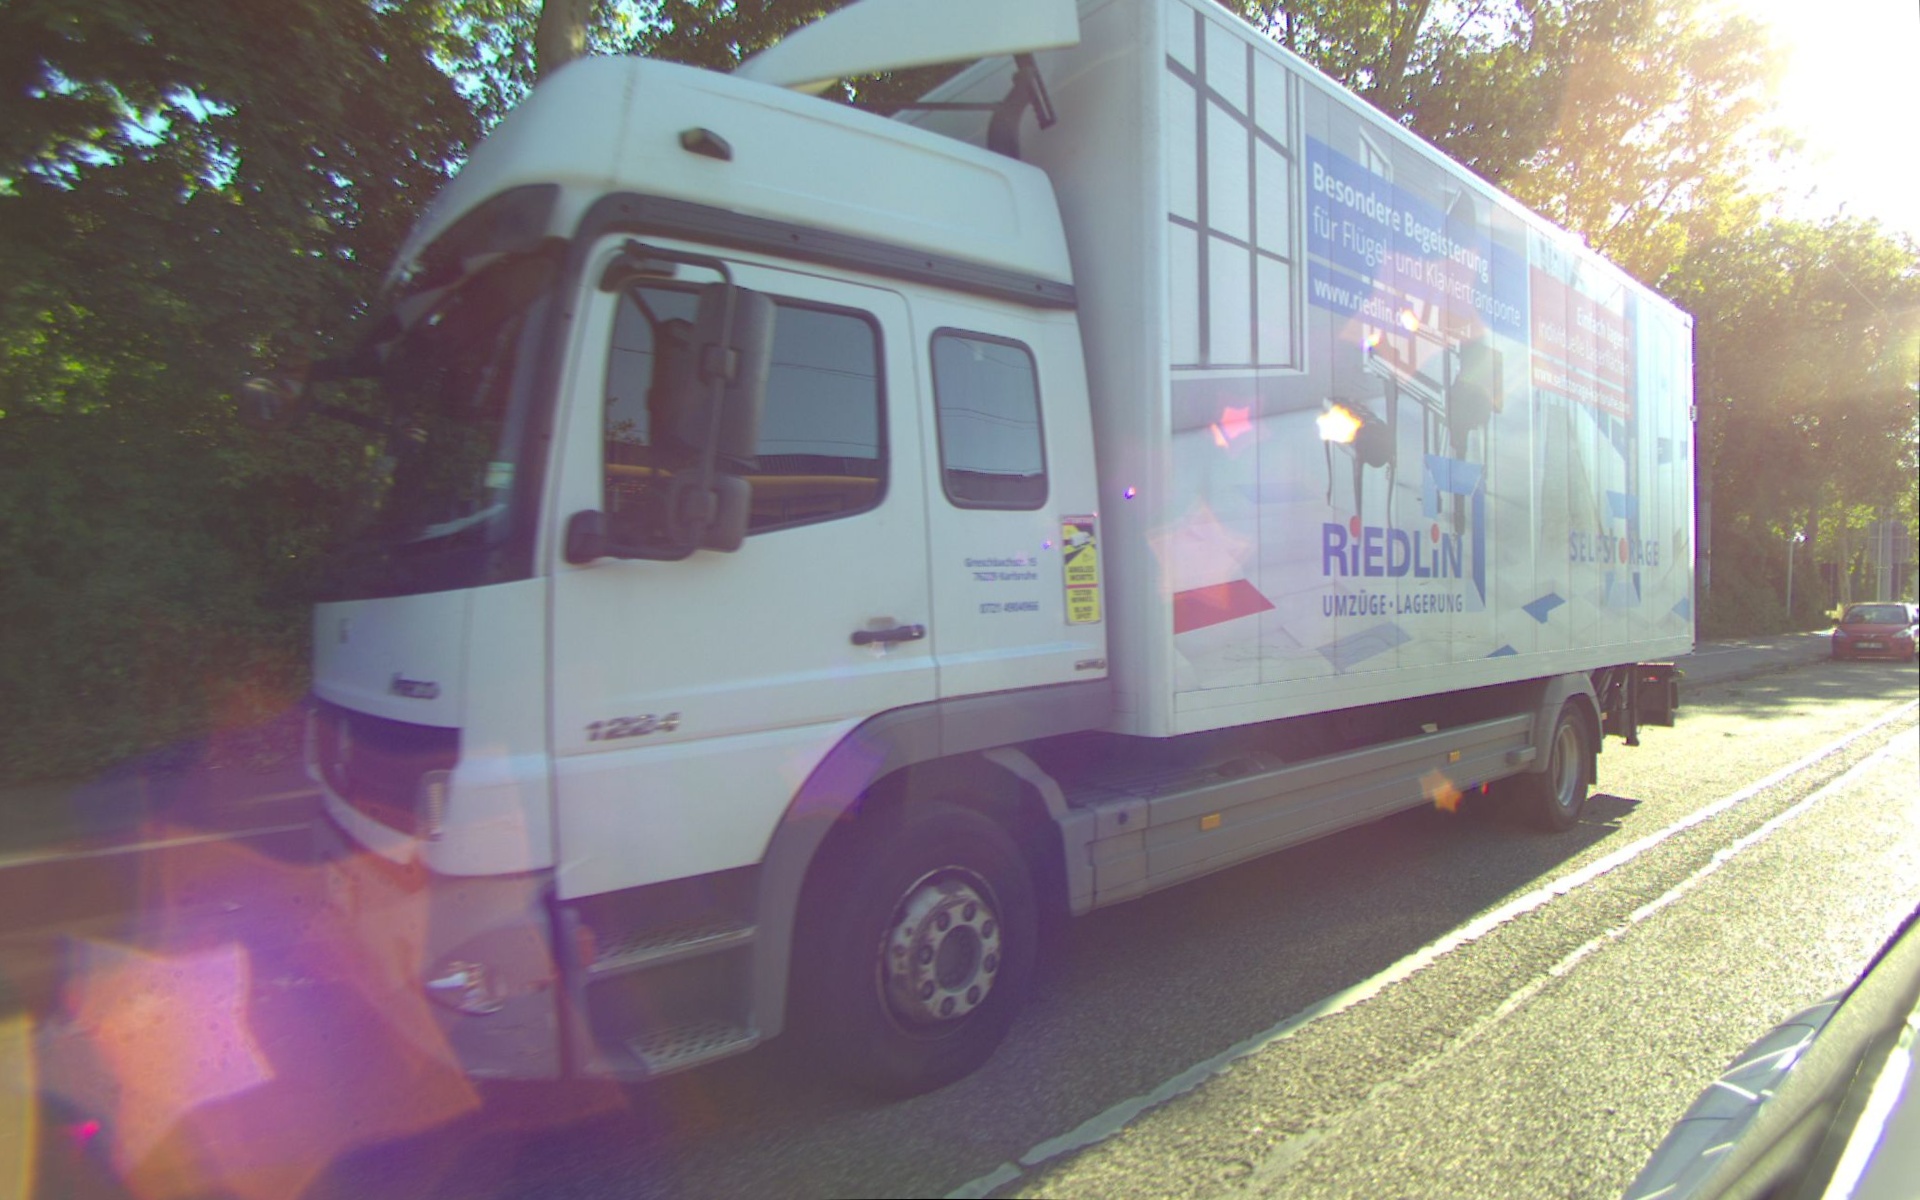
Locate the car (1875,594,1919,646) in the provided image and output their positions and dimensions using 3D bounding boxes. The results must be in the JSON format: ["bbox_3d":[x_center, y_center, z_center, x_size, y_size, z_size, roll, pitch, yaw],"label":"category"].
[{"bbox_3d":[28.607,0.567,30.012,4.094,1.475,1.811,0,0,-42],"label":"car"}]

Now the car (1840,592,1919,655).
[{"bbox_3d":[24.703,0.594,26.781,3.576,1.556,1.643,0,-1,-41],"label":"car"}]

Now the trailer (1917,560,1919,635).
[{"bbox_3d":[37.764,-0.072,37.649,5.838,2.728,2.257,0,1,-38],"label":"trailer"}]

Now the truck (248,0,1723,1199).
[{"bbox_3d":[1.786,-0.539,6.262,9.913,3.831,2.746,0,0,-41],"label":"truck"}]
